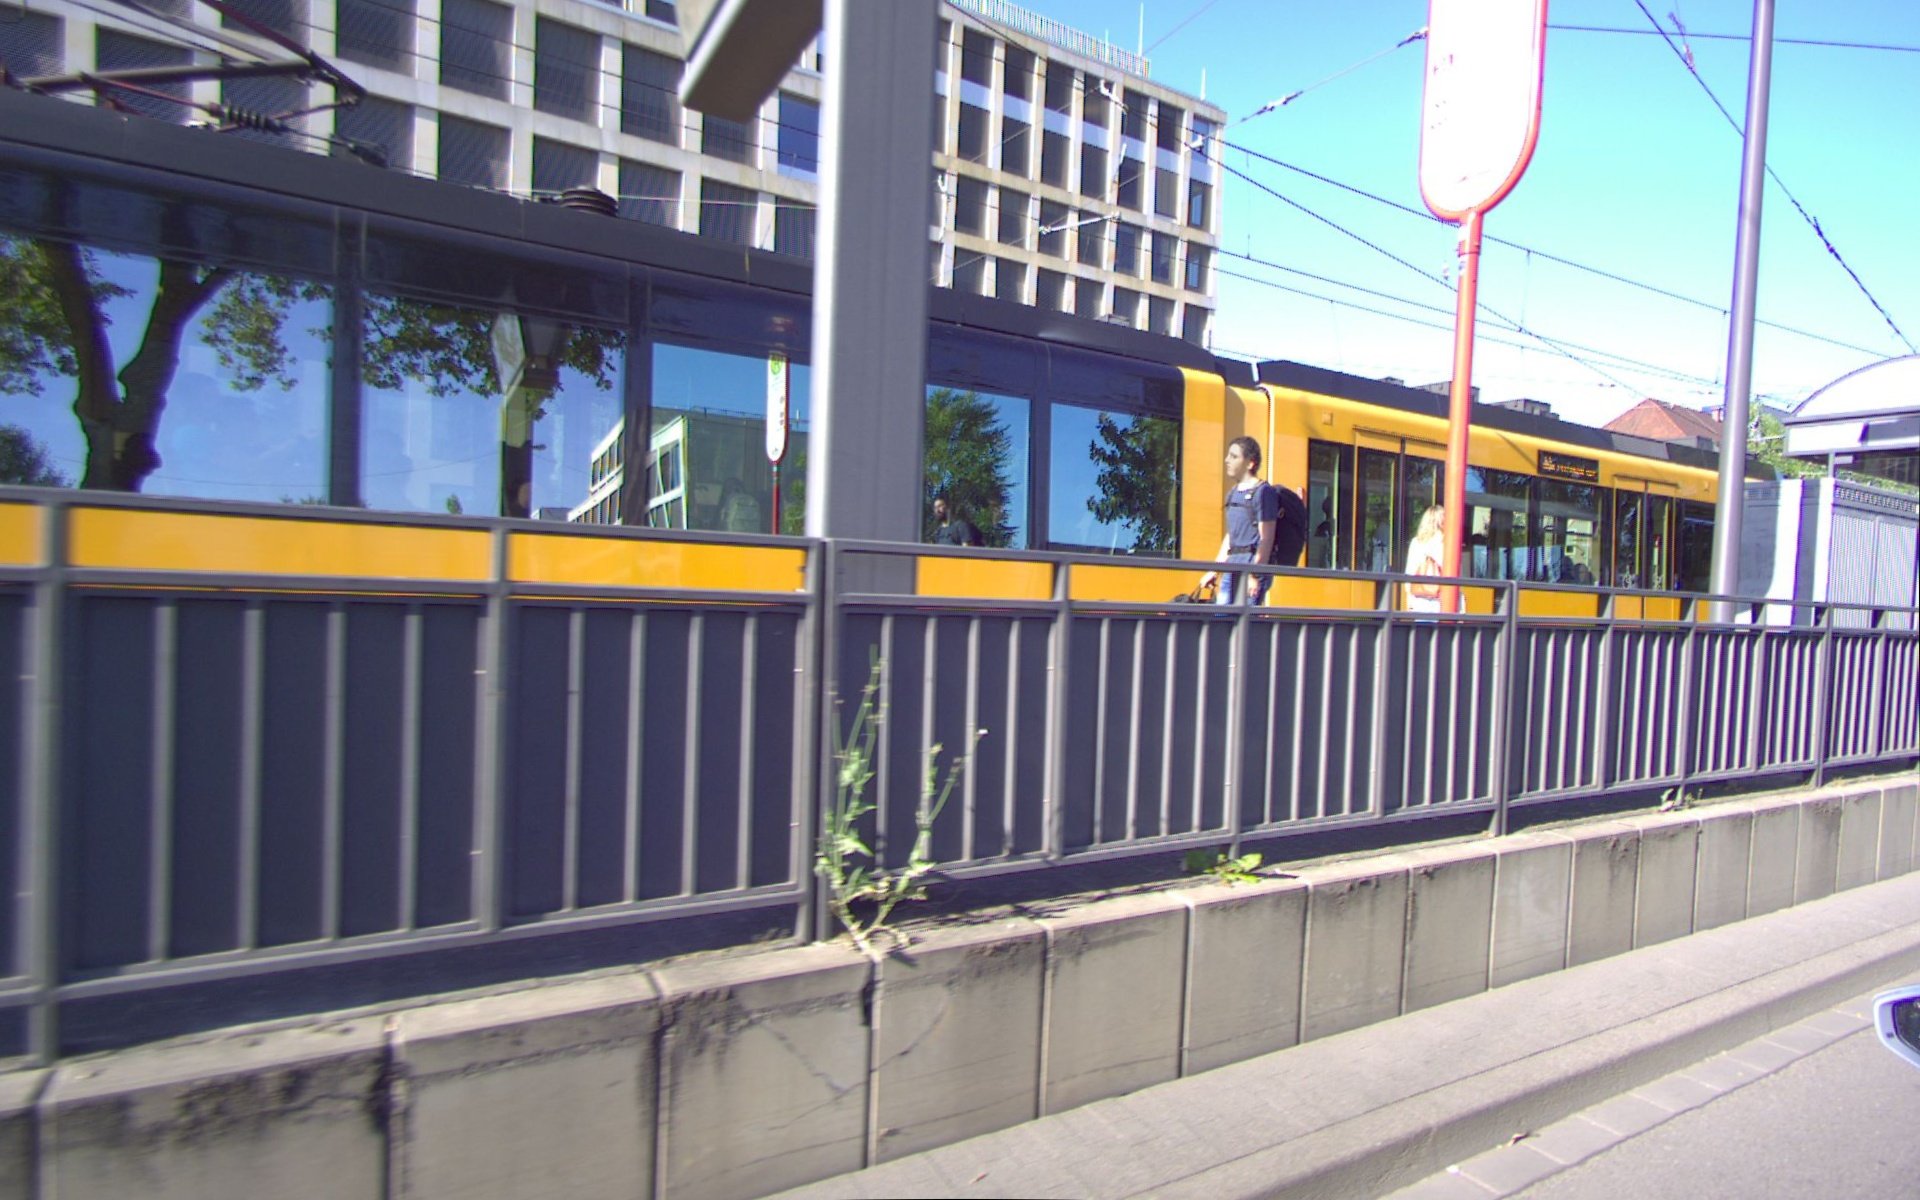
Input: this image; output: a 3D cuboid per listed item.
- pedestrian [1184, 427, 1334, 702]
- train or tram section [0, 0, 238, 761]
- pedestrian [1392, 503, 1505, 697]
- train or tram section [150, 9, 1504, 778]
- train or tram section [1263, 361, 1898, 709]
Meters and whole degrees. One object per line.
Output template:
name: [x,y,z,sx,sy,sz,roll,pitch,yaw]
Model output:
pedestrian: [2.006,-0.224,6.766,0.652,1.736,0.608,1,2,-32]
train or tram section: [-10.917,-1.406,2.849,14.056,3.881,3.292,2,2,-31]
pedestrian: [4.564,-0.005,9.398,0.607,1.736,0.654,1,2,-32]
train or tram section: [0.109,-0.942,9.555,11.708,3.881,3.292,2,2,-31]
train or tram section: [10.167,-0.628,15.660,11.708,3.881,3.292,2,2,-31]
